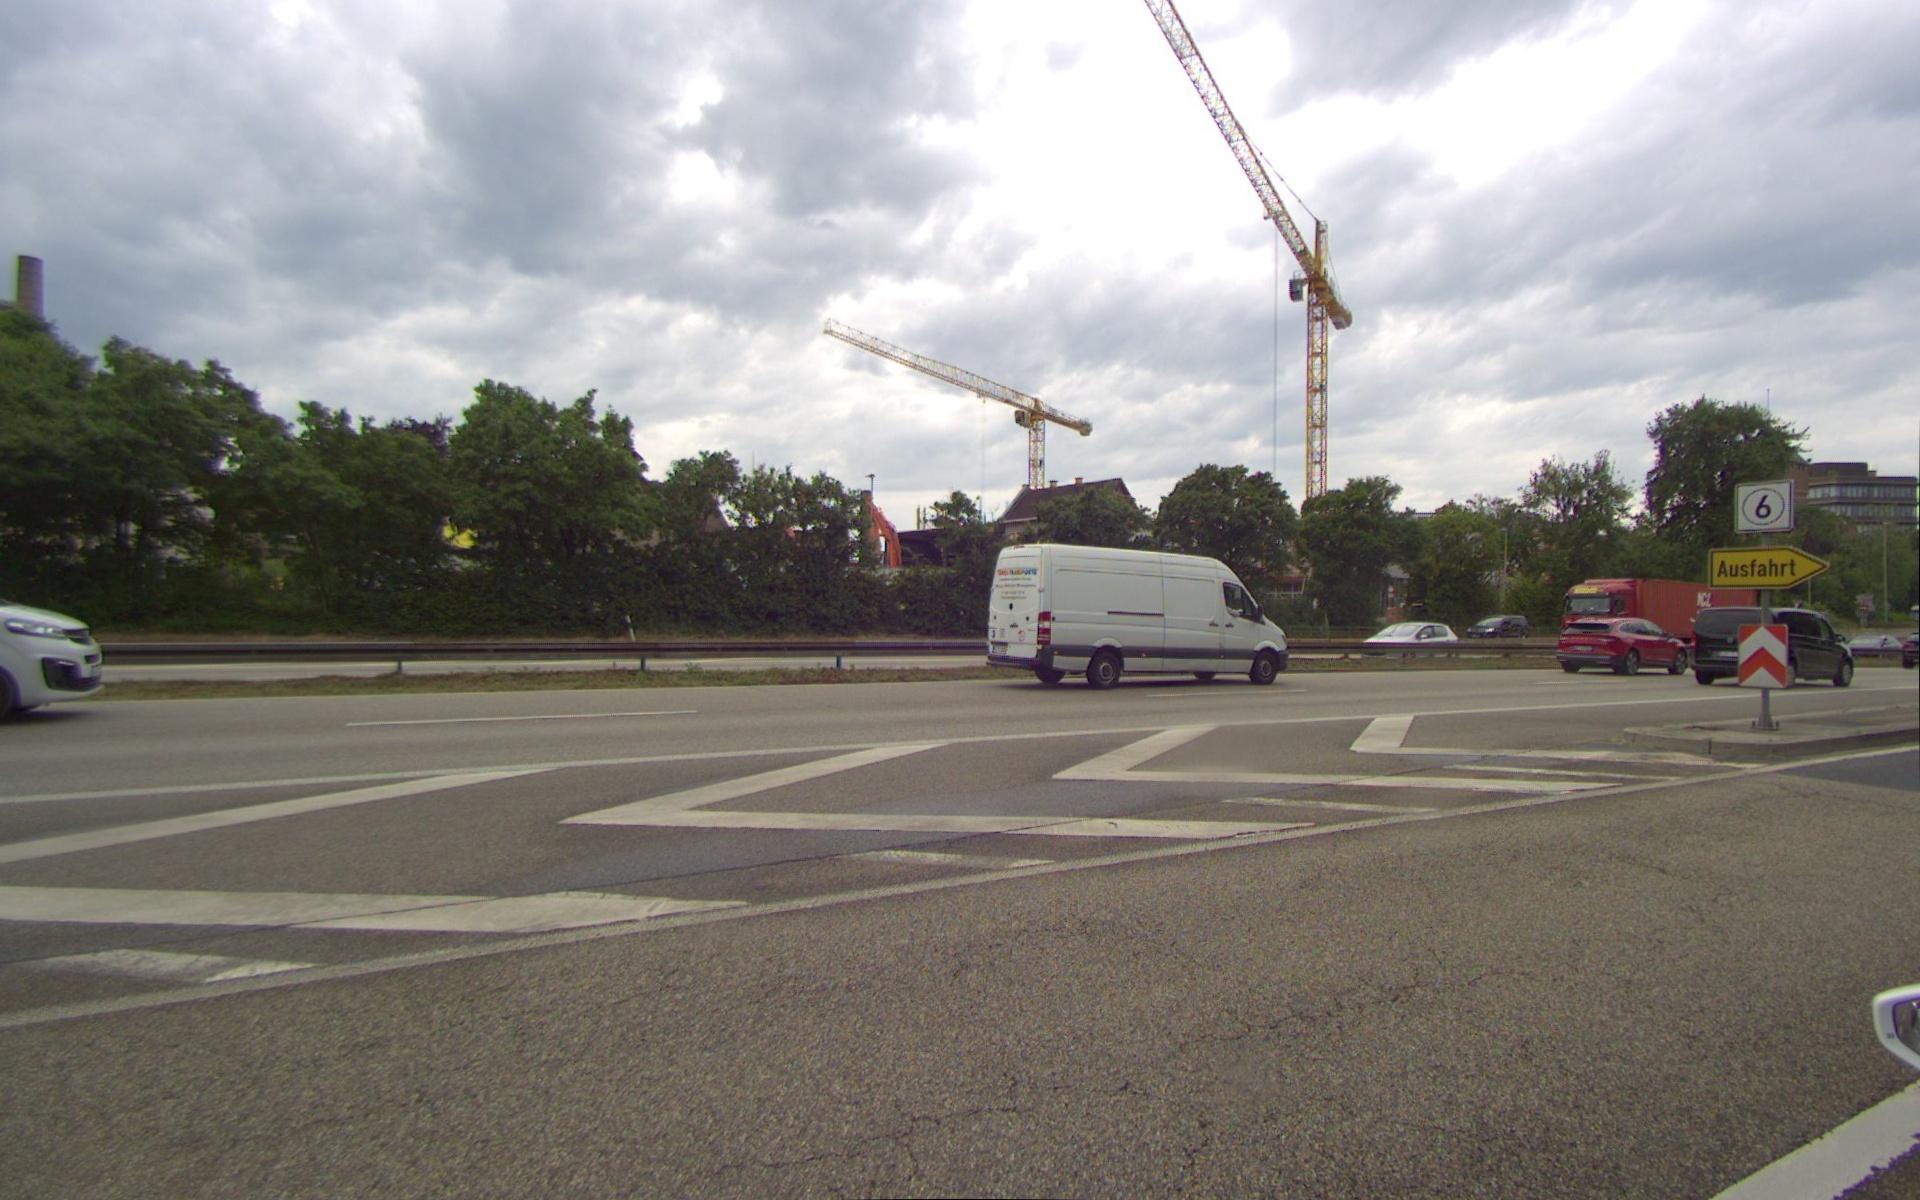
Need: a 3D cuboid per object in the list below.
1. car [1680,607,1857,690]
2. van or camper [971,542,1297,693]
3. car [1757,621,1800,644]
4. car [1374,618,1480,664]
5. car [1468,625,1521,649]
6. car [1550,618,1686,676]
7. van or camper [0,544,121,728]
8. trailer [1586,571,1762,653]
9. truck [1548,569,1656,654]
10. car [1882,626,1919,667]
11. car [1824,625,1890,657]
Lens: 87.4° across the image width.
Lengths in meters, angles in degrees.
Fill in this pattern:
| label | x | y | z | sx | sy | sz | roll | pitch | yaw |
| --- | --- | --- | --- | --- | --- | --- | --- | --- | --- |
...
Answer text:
| label | x | y | z | sx | sy | sz | roll | pitch | yaw |
| --- | --- | --- | --- | --- | --- | --- | --- | --- | --- |
| car | 20.175 | 1.149 | 25.020 | 4.758 | 1.876 | 1.983 | 1 | 0 | -32 |
| van or camper | 3.669 | 0.381 | 20.335 | 6.876 | 2.656 | 2.039 | 1 | -1 | -31 |
| car | 66.749 | 2.626 | 81.921 | 3.388 | 1.840 | 1.676 | 1 | -1 | -30 |
| car | 17.101 | 1.485 | 36.743 | 3.954 | 1.613 | 1.589 | 1 | -1 | -31 |
| car | 32.450 | 2.230 | 60.926 | 3.382 | 1.426 | 1.327 | 1 | -1 | -32 |
| car | 19.259 | 1.349 | 29.381 | 3.896 | 1.588 | 1.759 | 1 | -1 | -29 |
| van or camper | -12.070 | 0.349 | 10.492 | 4.797 | 1.945 | 1.910 | 1 | -1 | -32 |
| trailer | 39.463 | 0.742 | 55.237 | 13.197 | 4.118 | 2.751 | 1 | -1 | -31 |
| truck | 32.771 | 0.609 | 51.252 | 4.849 | 4.118 | 2.750 | 1 | -1 | -30 |
| car | 42.018 | 2.021 | 43.570 | 4.258 | 1.704 | 1.880 | 1 | -1 | -32 |
| car | 51.813 | 2.343 | 58.002 | 3.954 | 1.742 | 1.765 | 1 | -1 | -31 |
